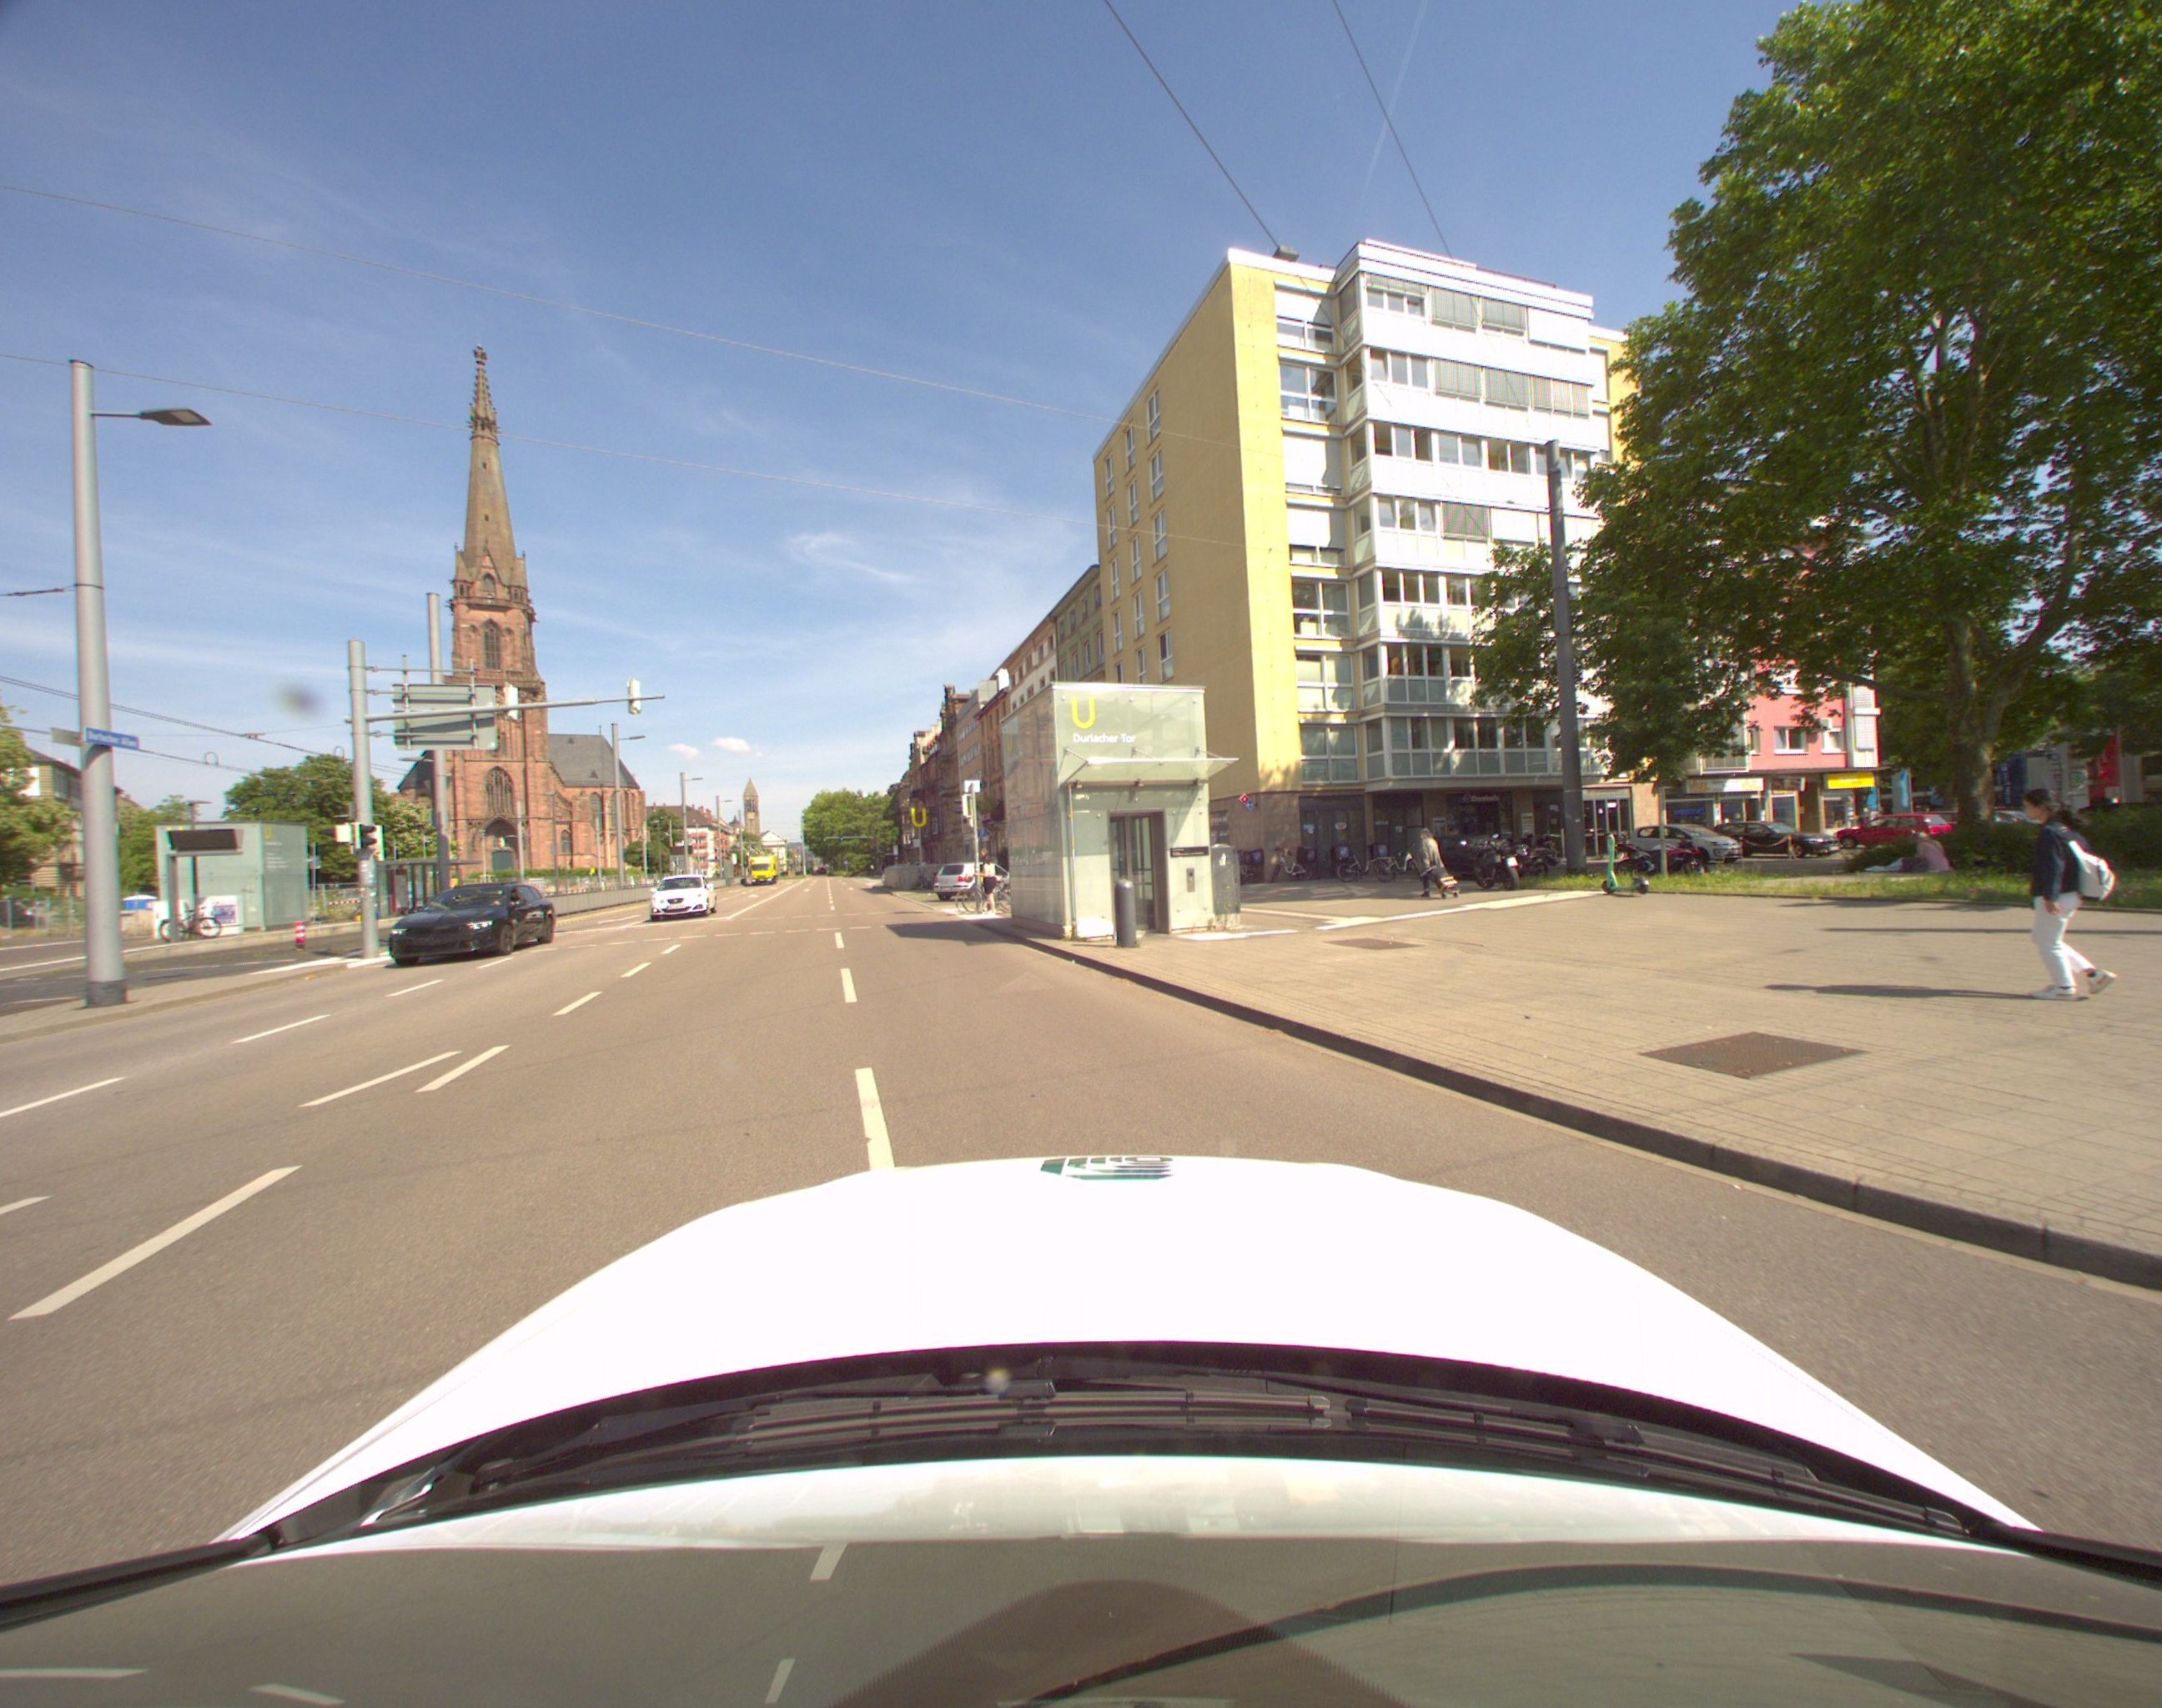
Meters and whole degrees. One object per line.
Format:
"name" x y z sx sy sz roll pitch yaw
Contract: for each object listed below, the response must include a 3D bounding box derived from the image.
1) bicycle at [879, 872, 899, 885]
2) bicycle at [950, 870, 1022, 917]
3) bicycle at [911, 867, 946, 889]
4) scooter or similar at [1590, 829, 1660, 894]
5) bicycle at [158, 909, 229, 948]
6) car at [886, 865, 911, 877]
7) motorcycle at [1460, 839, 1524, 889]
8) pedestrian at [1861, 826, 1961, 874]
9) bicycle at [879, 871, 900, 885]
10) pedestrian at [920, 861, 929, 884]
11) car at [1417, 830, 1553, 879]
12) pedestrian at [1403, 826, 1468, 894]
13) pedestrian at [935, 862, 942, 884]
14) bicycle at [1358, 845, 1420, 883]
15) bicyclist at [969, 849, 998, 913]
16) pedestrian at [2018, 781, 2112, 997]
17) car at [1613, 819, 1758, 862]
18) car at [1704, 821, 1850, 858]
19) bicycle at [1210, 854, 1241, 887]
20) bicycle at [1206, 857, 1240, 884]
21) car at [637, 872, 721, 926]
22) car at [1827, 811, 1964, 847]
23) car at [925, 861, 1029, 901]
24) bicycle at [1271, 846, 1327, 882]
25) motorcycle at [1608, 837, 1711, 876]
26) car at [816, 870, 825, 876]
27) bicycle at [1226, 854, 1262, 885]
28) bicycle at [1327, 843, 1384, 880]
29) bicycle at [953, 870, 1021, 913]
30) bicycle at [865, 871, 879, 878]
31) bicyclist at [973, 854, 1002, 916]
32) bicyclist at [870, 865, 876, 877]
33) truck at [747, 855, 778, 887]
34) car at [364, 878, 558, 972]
"bicycle" -14.932 1.899 63.363 1.465 0.947 0.413 -3 -2 -18
"bicycle" -2.518 1.037 21.703 1.785 1.130 0.754 -3 -1 -1
"bicycle" -8.332 1.312 44.525 1.747 1.094 0.594 -3 0 -18
"scooter or similar" 10.045 0.123 15.075 0.512 1.119 1.368 -3 0 10
"bicycle" -29.539 2.465 27.138 0.411 1.070 1.664 -4 2 1
"car" -31.548 2.929 140.953 3.996 1.749 1.989 -3 2 -16
"motorcycle" 9.407 0.207 18.717 0.635 1.062 2.042 -3 0 7
"pedestrian" 16.859 -0.070 16.574 0.823 0.892 1.168 -3 0 -20
"bicycle" -14.805 1.879 62.937 1.465 0.976 0.413 -3 2 -18
"pedestrian" -11.655 1.396 60.709 0.554 1.665 0.522 -3 -1 -18
"car" 13.038 0.047 26.591 1.658 1.470 4.069 0 -1 -17
"pedestrian" 7.646 0.144 17.589 0.657 1.404 1.109 1 -3 -21
"pedestrian" -10.627 1.415 60.878 0.372 1.665 0.522 -3 -1 -18
"bicycle" 9.937 0.315 26.319 1.750 1.086 0.582 -4 0 -8
"bicyclist" -2.771 0.758 23.050 0.618 1.735 0.579 -2 -1 -24
"pedestrian" 7.654 0.250 6.336 0.402 1.604 0.449 -4 2 -37
"car" 22.342 -0.528 30.283 1.889 1.439 3.977 -3 2 -17
"car" 26.719 -0.586 31.436 1.742 1.270 3.978 -3 2 -17
"bicycle" 5.263 0.594 29.774 0.581 1.085 1.753 -6 0 -5
"bicycle" 5.432 0.626 31.255 0.583 0.965 1.749 -4 0 -12
"car" -13.206 1.407 27.001 1.759 1.397 4.099 -7 1 -18
"car" 34.192 -1.045 34.308 1.742 1.340 3.714 -3 2 -17
"car" -3.946 1.007 31.537 1.790 1.440 4.025 -2 -1 33
"bicycle" 7.823 0.358 29.250 1.888 1.186 0.538 -3 0 -16
"motorcycle" 14.256 0.065 20.141 2.012 0.842 0.645 -3 0 33
"car" -65.677 4.713 205.591 1.906 1.376 3.789 -3 0 -20
"bicycle" 5.923 0.558 29.665 0.582 1.043 1.750 -4 0 -11
"bicycle" 9.231 0.244 27.420 1.750 1.219 0.582 -1 -1 -8
"bicycle" -2.688 1.058 23.213 1.799 1.130 0.579 -2 -1 -24
"bicycle" -29.077 2.915 113.273 1.831 0.863 0.478 -3 2 -33
"bicyclist" -2.448 0.809 21.421 0.609 1.572 0.733 -3 -1 0
"bicyclist" -28.910 2.325 113.374 0.643 1.591 0.478 -3 2 -33
"truck" -36.812 1.988 94.262 2.551 3.298 8.972 -5 0 -18
"car" -12.572 1.336 16.882 1.759 1.456 4.395 -4 1 -18
